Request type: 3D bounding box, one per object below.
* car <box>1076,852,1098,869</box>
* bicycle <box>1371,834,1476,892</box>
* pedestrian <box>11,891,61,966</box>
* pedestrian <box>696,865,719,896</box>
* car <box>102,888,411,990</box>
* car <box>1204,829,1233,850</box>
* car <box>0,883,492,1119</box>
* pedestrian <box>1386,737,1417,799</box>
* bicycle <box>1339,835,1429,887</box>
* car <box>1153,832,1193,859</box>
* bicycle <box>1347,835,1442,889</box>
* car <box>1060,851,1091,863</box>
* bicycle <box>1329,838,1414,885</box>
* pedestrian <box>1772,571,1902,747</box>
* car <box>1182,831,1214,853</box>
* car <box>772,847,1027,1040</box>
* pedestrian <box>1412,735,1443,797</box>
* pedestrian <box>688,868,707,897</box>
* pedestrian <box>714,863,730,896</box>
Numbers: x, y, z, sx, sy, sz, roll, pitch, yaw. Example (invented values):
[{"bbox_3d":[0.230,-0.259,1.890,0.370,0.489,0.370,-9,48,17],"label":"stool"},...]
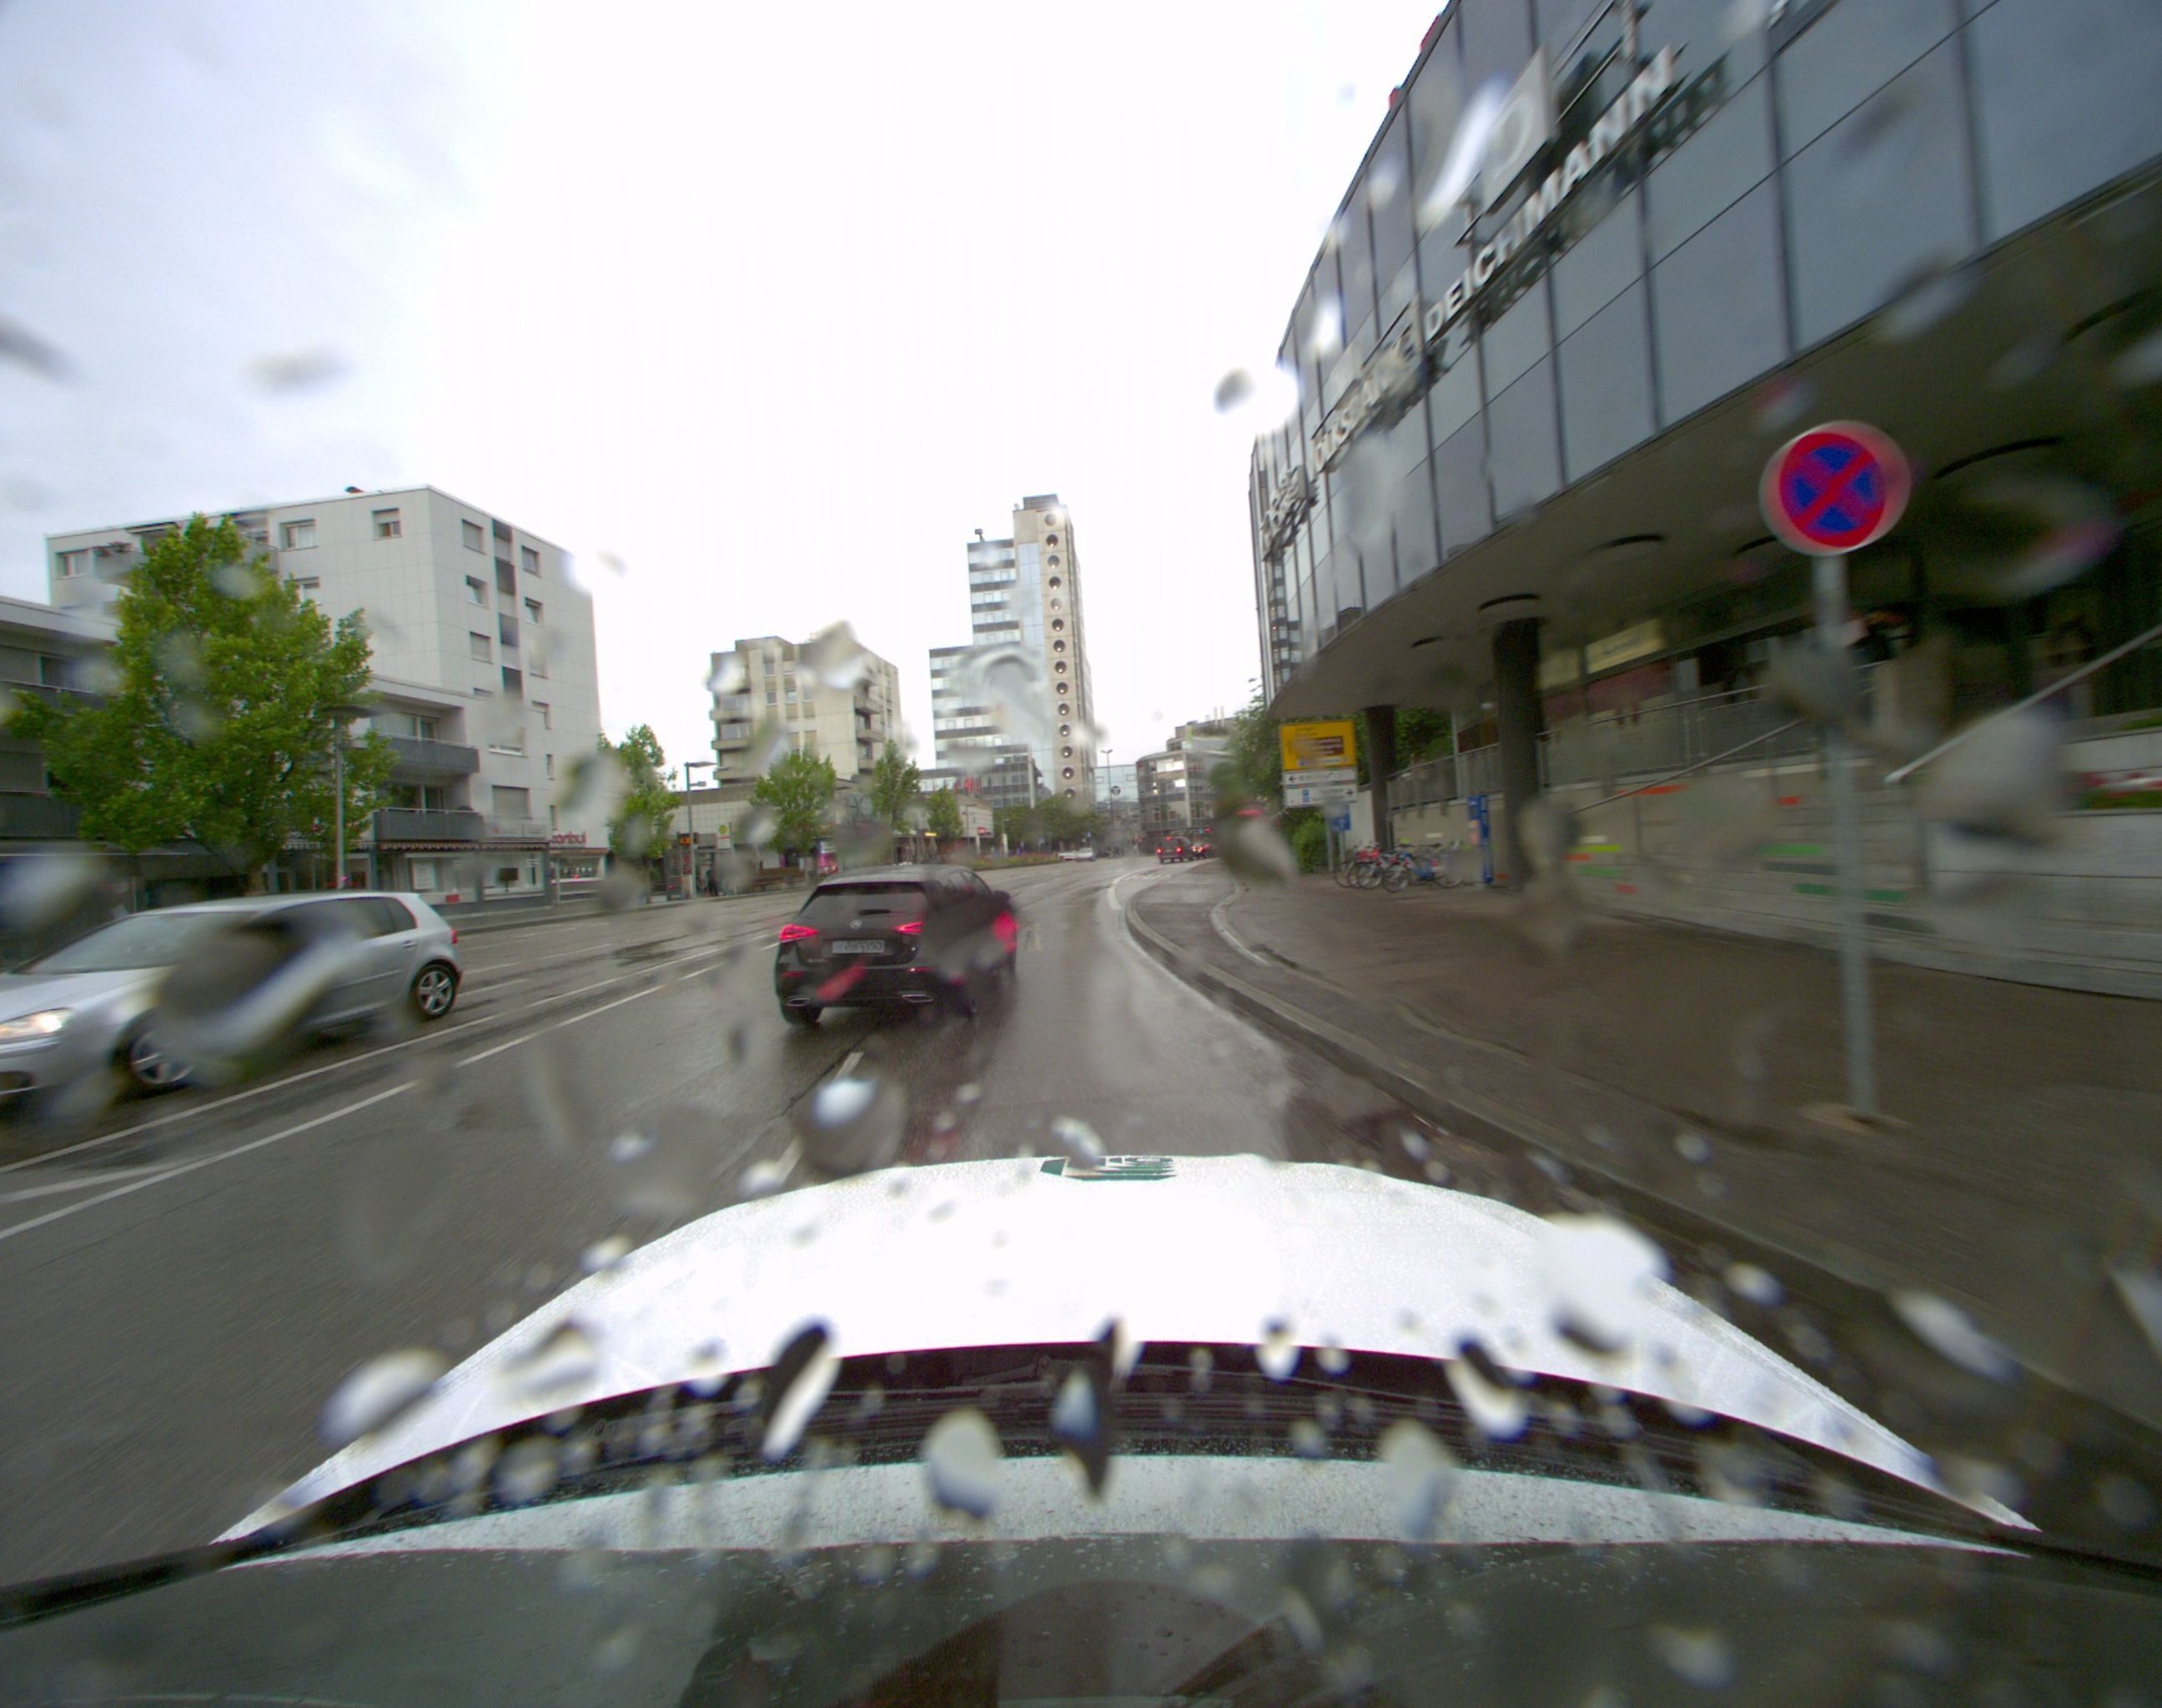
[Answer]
[{"bbox_3d":[0.636,0.661,85.022,1.682,1.632,3.522,-4,1,10],"label":"car"},{"bbox_3d":[7.142,0.191,17.058,1.841,1.023,0.633,-6,-1,3],"label":"bicycle"},{"bbox_3d":[-25.979,1.834,20.250,0.562,1.793,0.493,-4,0,11],"label":"pedestrian"},{"bbox_3d":[-19.792,1.386,43.132,0.792,1.571,0.636,-4,1,-2],"label":"pedestrian"},{"bbox_3d":[-14.426,1.403,14.593,1.429,1.297,3.782,-3,1,5],"label":"car"},{"bbox_3d":[13.079,-1.375,77.114,1.894,1.724,3.829,-3,1,20],"label":"car"},{"bbox_3d":[-7.916,1.131,7.654,1.735,1.441,3.992,-4,0,0],"label":"car"},{"bbox_3d":[9.334,-2.488,23.745,0.648,1.713,0.601,-3,1,9],"label":"pedestrian"},{"bbox_3d":[7.228,0.164,19.495,1.841,1.033,0.629,-6,-1,3],"label":"bicycle"},{"bbox_3d":[7.302,-0.675,64.109,2.025,1.895,4.162,-3,1,22],"label":"car"},{"bbox_3d":[7.182,0.183,18.736,1.841,1.042,0.648,-6,-1,3],"label":"bicycle"},{"bbox_3d":[-0.718,0.435,110.699,3.970,1.384,1.730,-4,1,3],"label":"car"},{"bbox_3d":[7.181,0.172,20.199,1.839,0.951,0.537,-6,1,7],"label":"bicycle"},{"bbox_3d":[9.777,-2.478,10.580,0.941,2.013,0.837,-3,1,19],"label":"pedestrian"},{"bbox_3d":[10.257,-1.045,71.120,1.870,1.672,4.021,-3,1,20],"label":"car"},{"bbox_3d":[-1.674,0.746,8.943,1.656,1.481,4.097,-3,1,2],"label":"car"},{"bbox_3d":[10.014,-2.520,23.559,0.648,1.713,0.601,-3,1,9],"label":"pedestrian"},{"bbox_3d":[-19.896,1.473,42.258,0.632,1.470,0.636,-4,1,-2],"label":"pedestrian"},{"bbox_3d":[-19.133,1.343,43.444,0.485,1.718,0.538,-4,1,2],"label":"pedestrian"}]
